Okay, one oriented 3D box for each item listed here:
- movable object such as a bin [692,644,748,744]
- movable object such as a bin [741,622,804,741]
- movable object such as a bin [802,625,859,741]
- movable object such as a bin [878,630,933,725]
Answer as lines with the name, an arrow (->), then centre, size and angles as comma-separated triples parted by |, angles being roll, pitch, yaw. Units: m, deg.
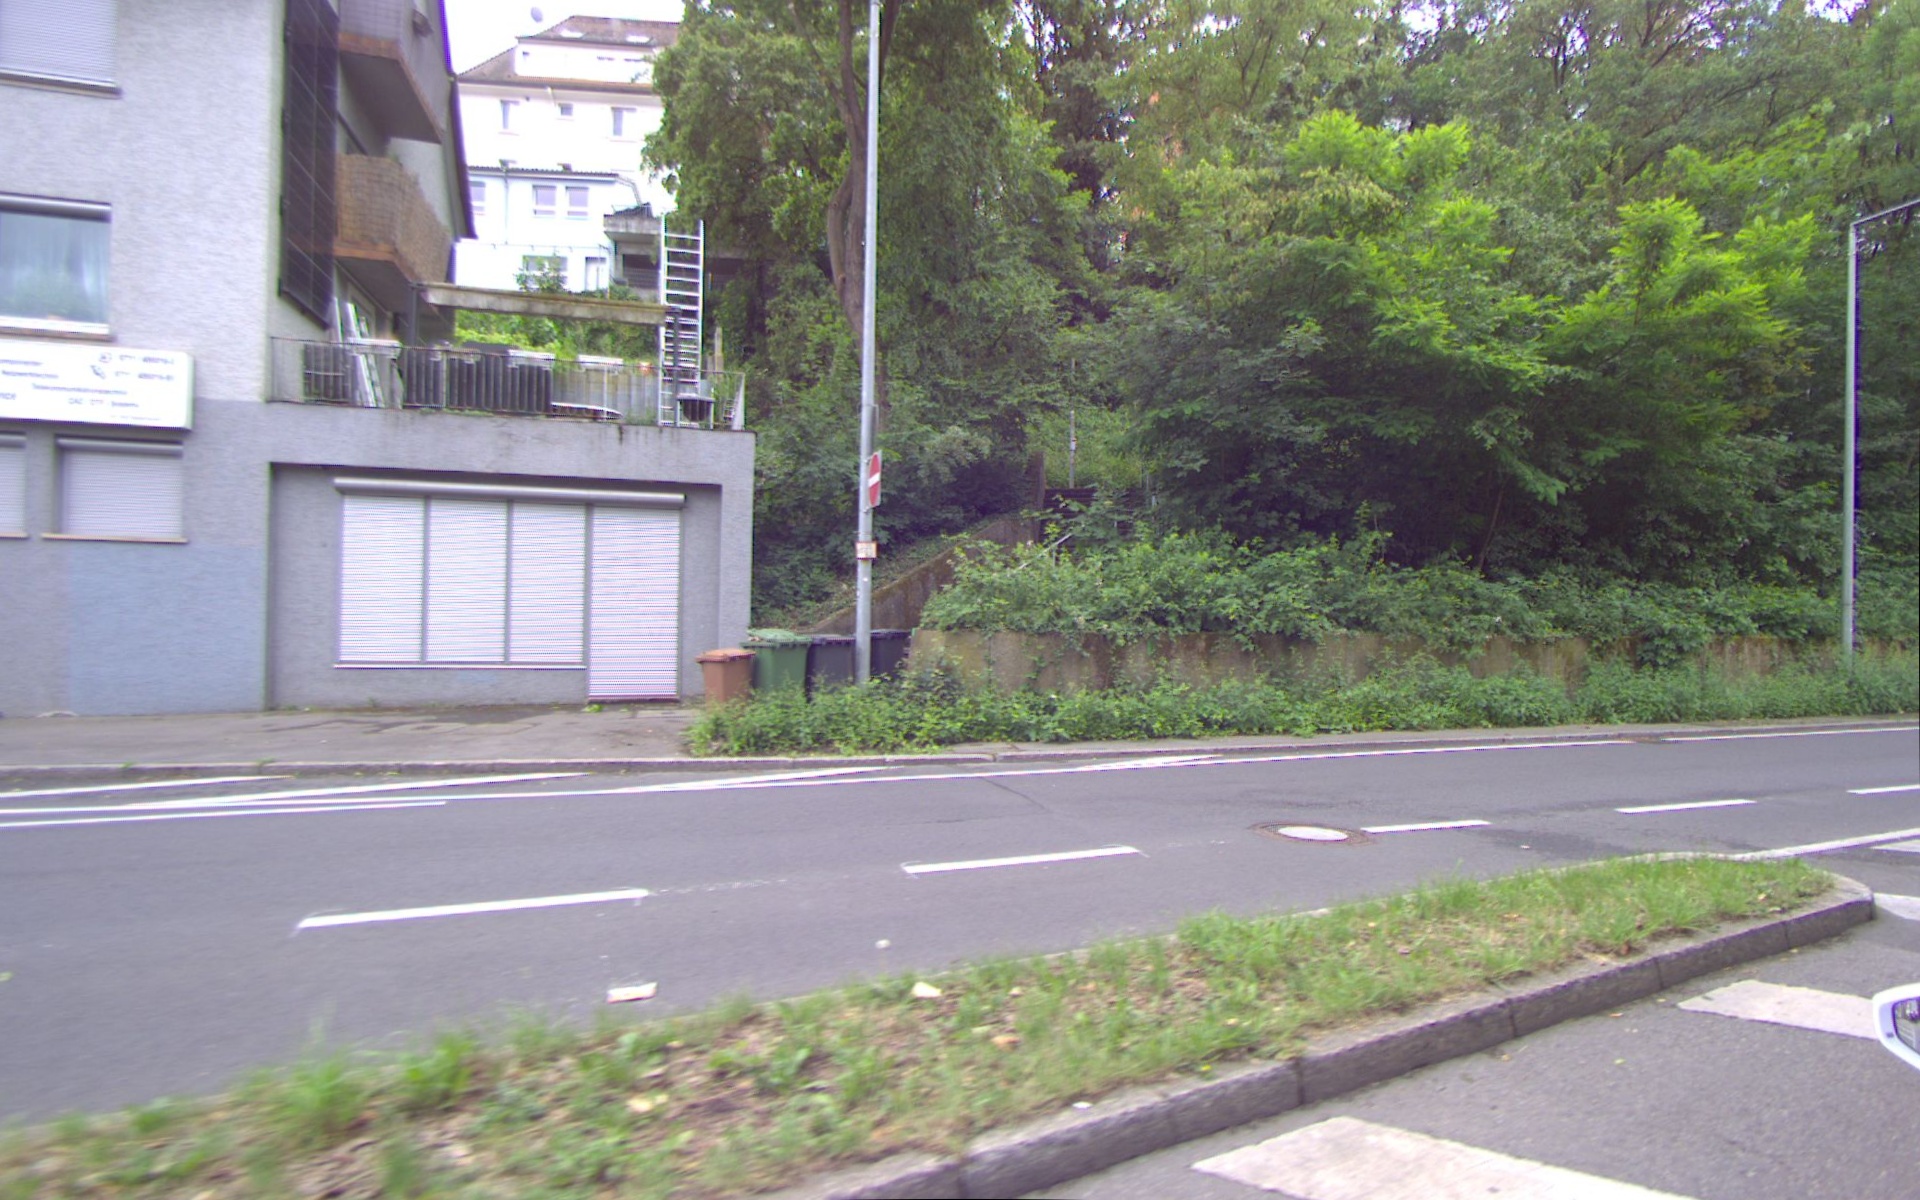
movable object such as a bin -> -2.557, 0.984, 10.681 | 0.439, 0.980, 0.513 | 0, 2, -31
movable object such as a bin -> -2.040, 0.862, 10.884 | 0.486, 1.202, 0.601 | 0, 2, -31
movable object such as a bin -> -1.440, 0.901, 11.146 | 0.425, 1.202, 0.578 | 0, 2, -31
movable object such as a bin -> -0.642, 0.897, 11.799 | 0.425, 1.039, 0.552 | 0, 2, -31
